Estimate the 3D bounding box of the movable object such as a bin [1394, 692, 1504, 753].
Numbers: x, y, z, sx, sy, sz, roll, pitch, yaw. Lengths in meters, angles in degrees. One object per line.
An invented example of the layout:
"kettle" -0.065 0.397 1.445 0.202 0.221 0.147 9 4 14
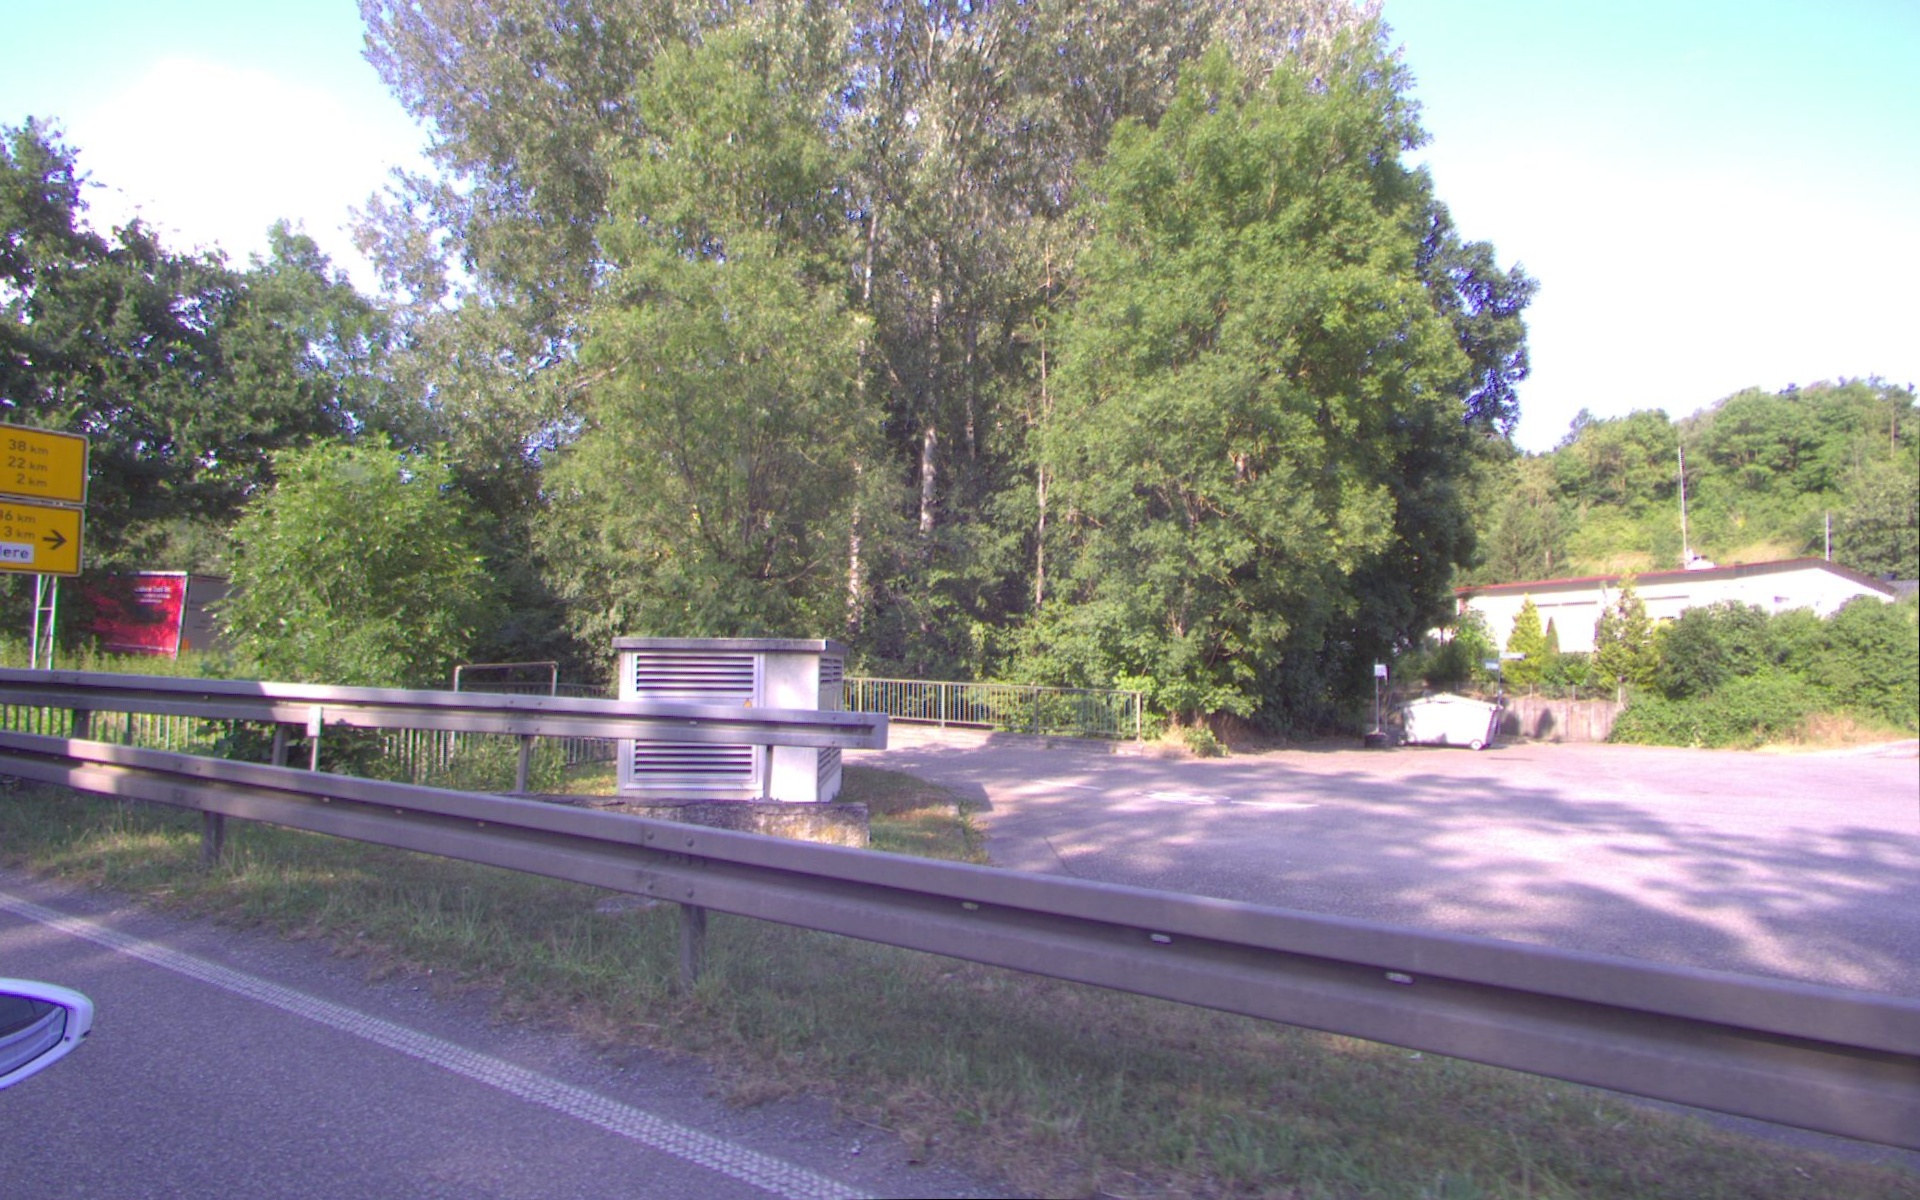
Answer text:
"movable object such as a bin" 13.035 3.247 26.721 2.521 1.436 1.265 -1 -5 32
